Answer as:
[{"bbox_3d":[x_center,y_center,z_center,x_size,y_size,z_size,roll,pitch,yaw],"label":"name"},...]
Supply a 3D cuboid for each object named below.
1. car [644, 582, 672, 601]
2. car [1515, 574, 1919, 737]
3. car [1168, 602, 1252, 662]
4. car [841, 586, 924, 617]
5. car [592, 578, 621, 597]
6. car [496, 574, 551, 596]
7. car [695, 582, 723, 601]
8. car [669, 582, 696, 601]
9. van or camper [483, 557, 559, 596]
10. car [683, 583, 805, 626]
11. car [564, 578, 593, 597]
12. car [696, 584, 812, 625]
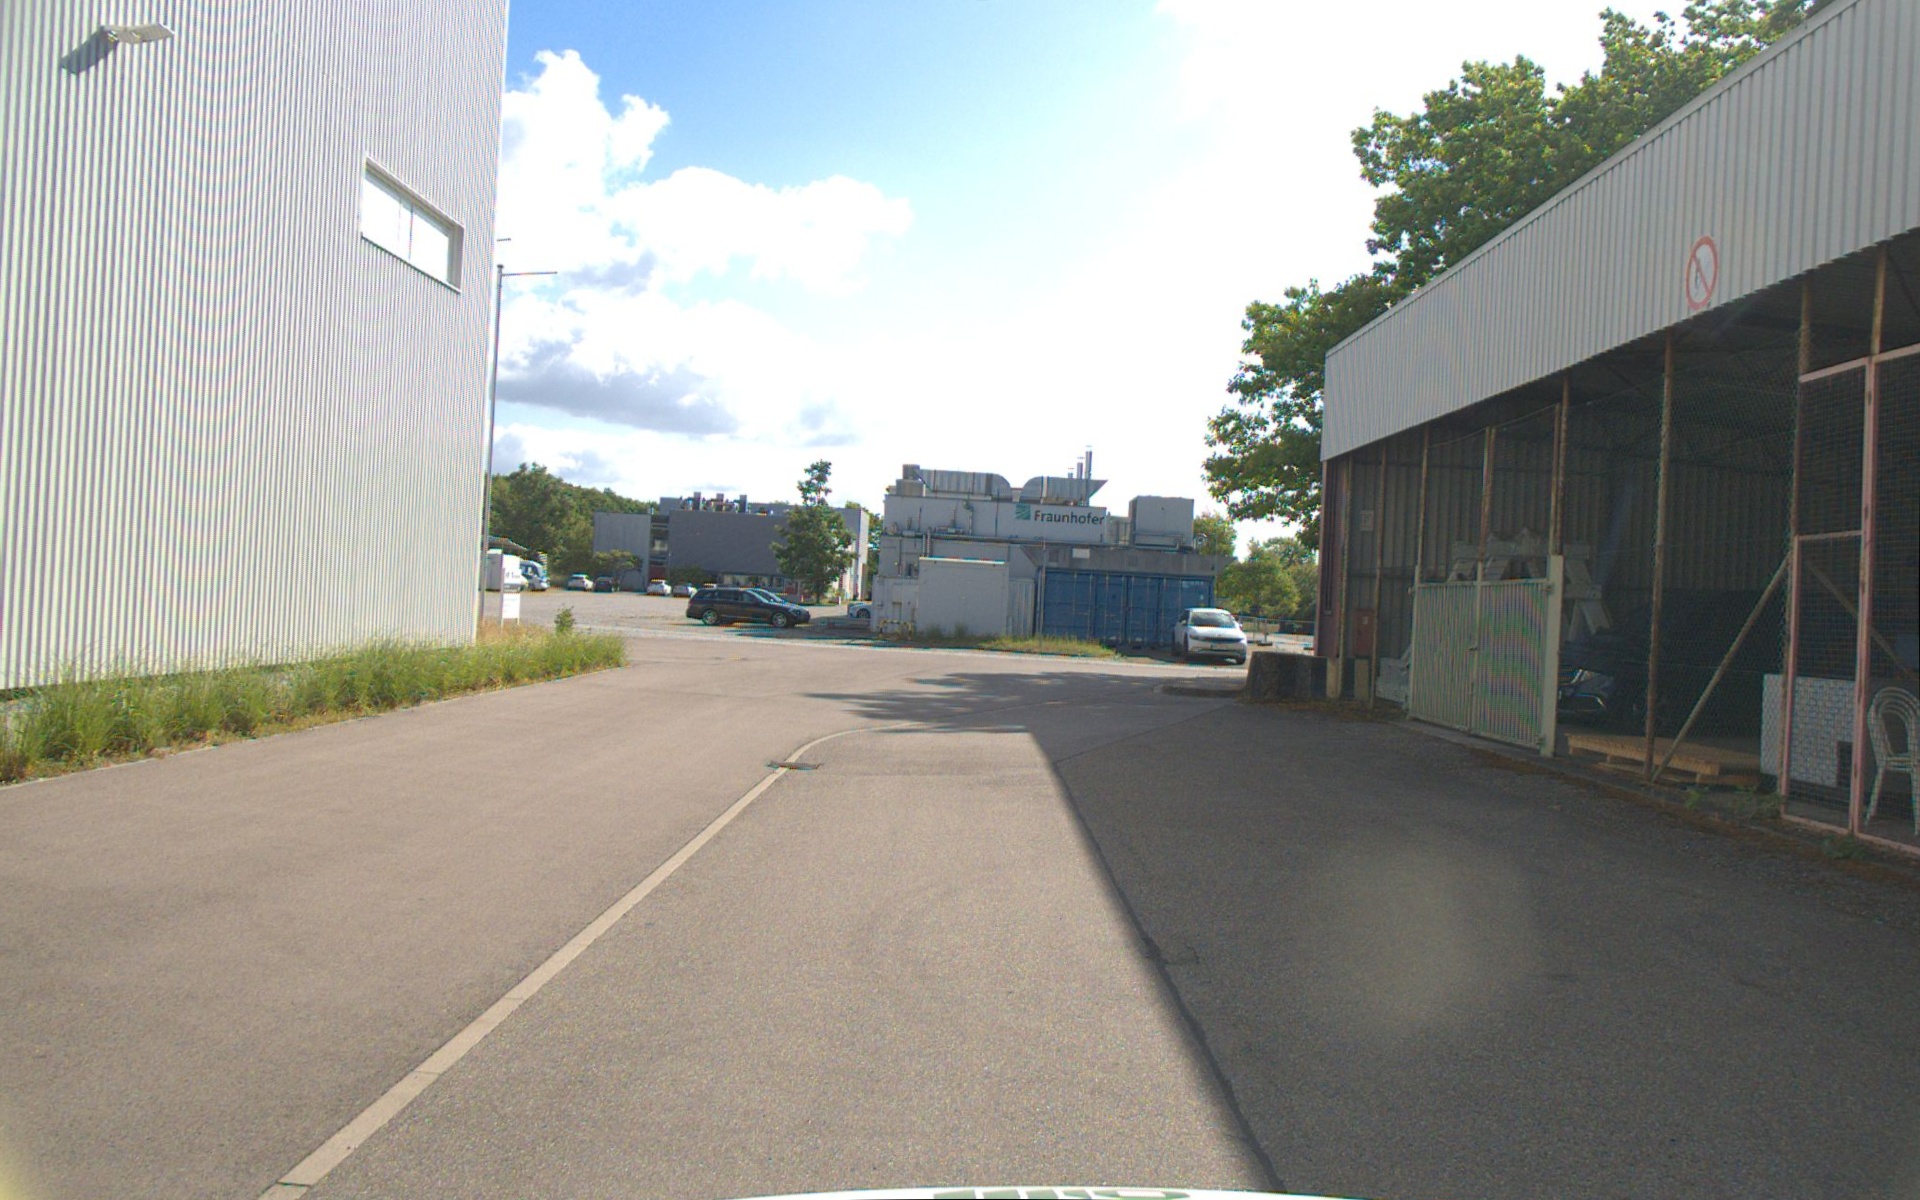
[{"bbox_3d":[-29.541,-0.860,161.913,1.953,1.766,3.999,1,0,-1],"label":"car"},{"bbox_3d":[10.262,0.719,21.892,5.136,1.909,1.998,2,0,-6],"label":"car"},{"bbox_3d":[7.826,0.985,52.168,1.953,1.613,4.173,2,2,-1],"label":"car"},{"bbox_3d":[-4.310,0.077,92.475,4.433,1.534,1.909,2,0,1],"label":"car"},{"bbox_3d":[-34.469,-1.167,161.396,1.953,1.766,3.999,1,0,-1],"label":"car"},{"bbox_3d":[-35.615,-1.215,134.981,3.906,1.638,1.999,2,0,-2],"label":"car"},{"bbox_3d":[-24.562,-0.807,161.926,2.149,1.766,3.999,1,0,-1],"label":"car"},{"bbox_3d":[-27.096,-0.821,161.572,1.953,1.766,3.999,1,0,-1],"label":"car"},{"bbox_3d":[-36.624,-1.918,138.239,5.600,2.979,2.472,2,0,-2],"label":"van or camper"},{"bbox_3d":[-8.438,0.172,64.860,4.432,1.534,1.909,2,0,2],"label":"car"},{"bbox_3d":[-37.218,-1.213,161.439,1.953,1.766,3.999,1,0,-1],"label":"car"},{"bbox_3d":[-8.464,0.191,68.097,4.432,1.534,1.909,2,0,2],"label":"car"}]
